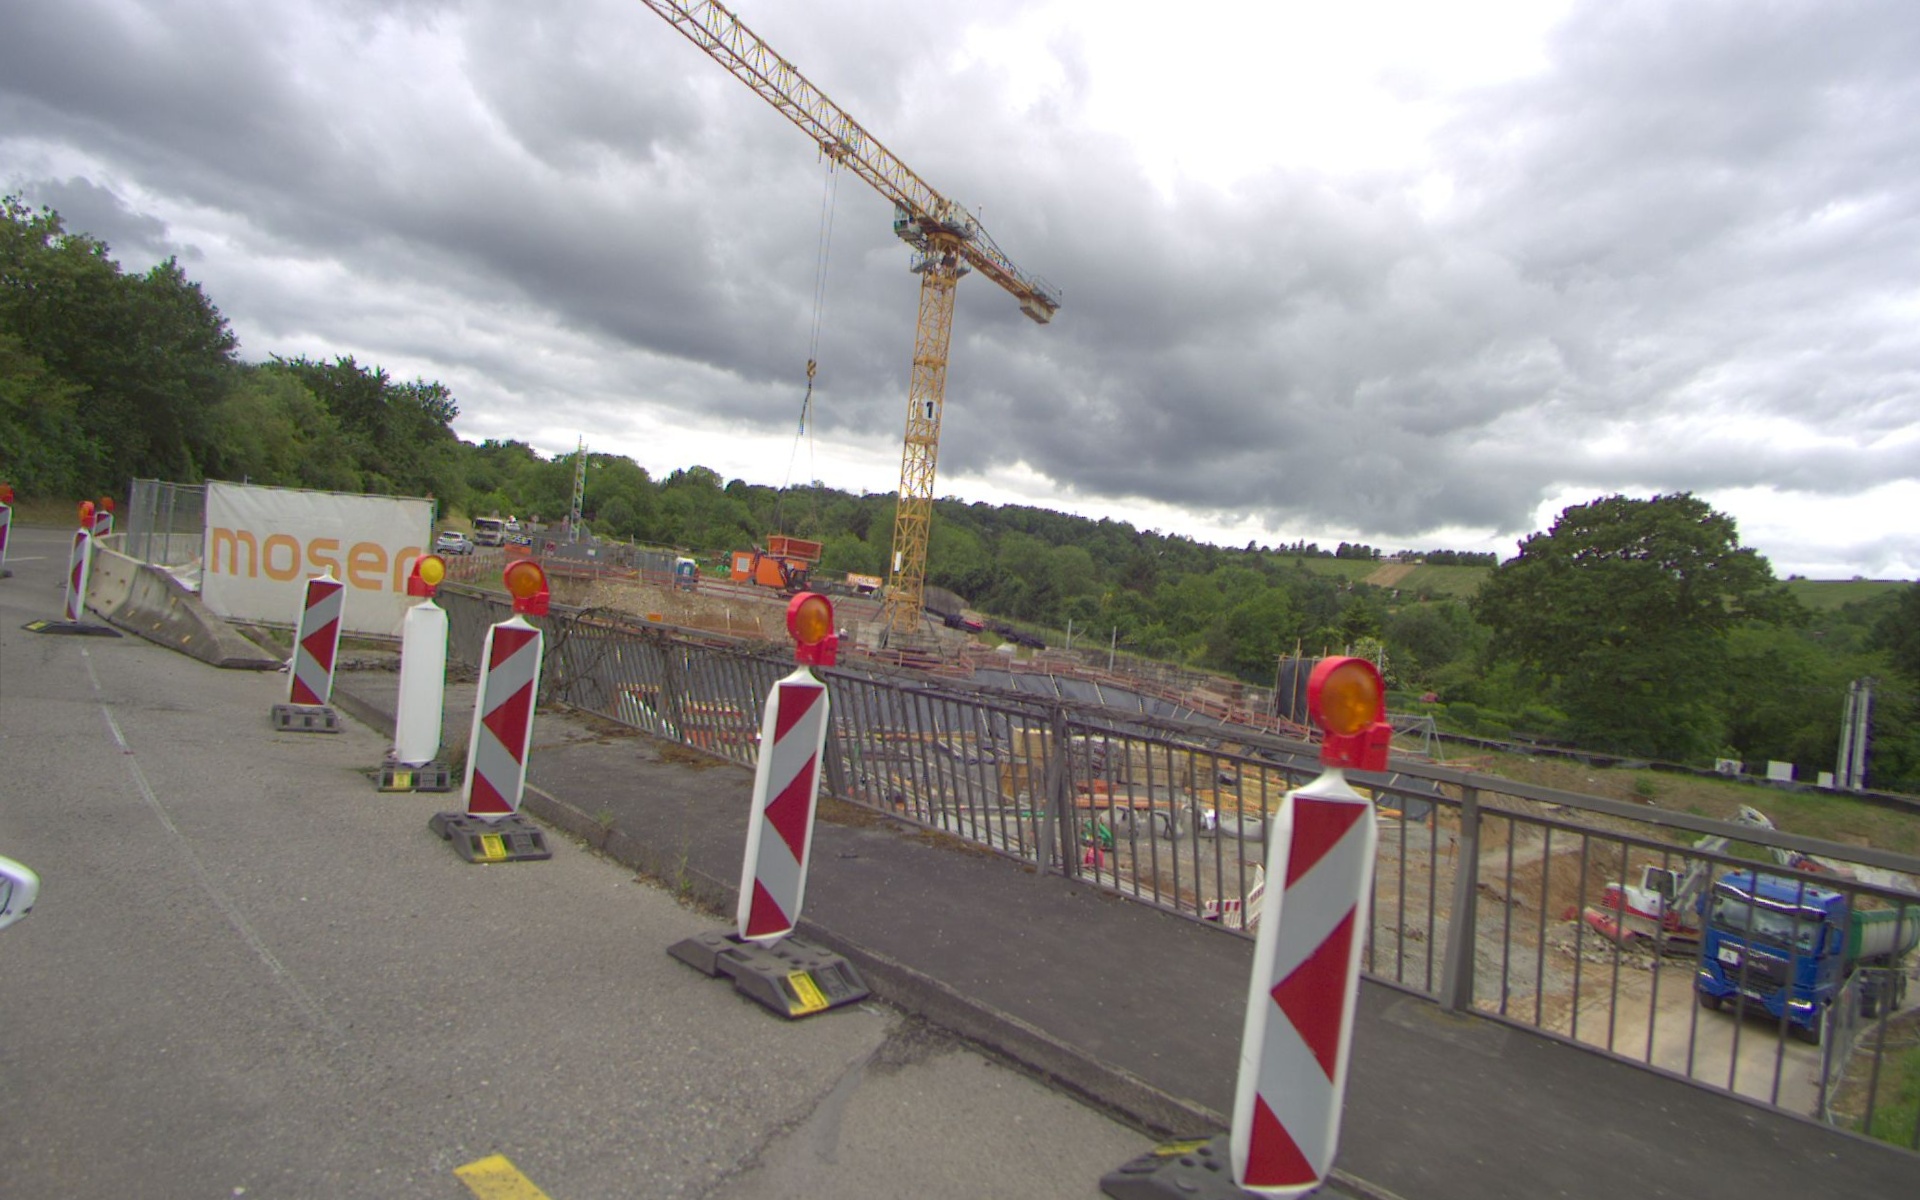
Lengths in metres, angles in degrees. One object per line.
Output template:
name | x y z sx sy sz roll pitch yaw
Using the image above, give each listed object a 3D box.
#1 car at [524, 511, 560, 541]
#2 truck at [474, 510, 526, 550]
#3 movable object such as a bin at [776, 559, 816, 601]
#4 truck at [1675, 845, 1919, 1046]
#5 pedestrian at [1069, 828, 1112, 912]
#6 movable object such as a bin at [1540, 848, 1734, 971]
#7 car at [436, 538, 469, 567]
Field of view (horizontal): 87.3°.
car | -35.008 -6.189 84.293 1.967 2.039 3.990 6 0 -12
truck | -44.356 -6.695 97.163 2.784 3.379 8.351 6 1 -14
movable object such as a bin | -13.296 -1.601 81.535 2.757 3.116 1.835 6 1 -16
truck | 24.137 9.283 28.379 11.528 3.938 2.818 10 -2 -37
pedestrian | 3.500 7.230 27.000 0.697 2.037 0.796 5 -2 -35
movable object such as a bin | 21.811 9.961 32.518 4.229 2.781 3.034 9 -1 -20
car | -34.473 -3.228 68.399 1.695 1.696 3.977 6 0 -24
